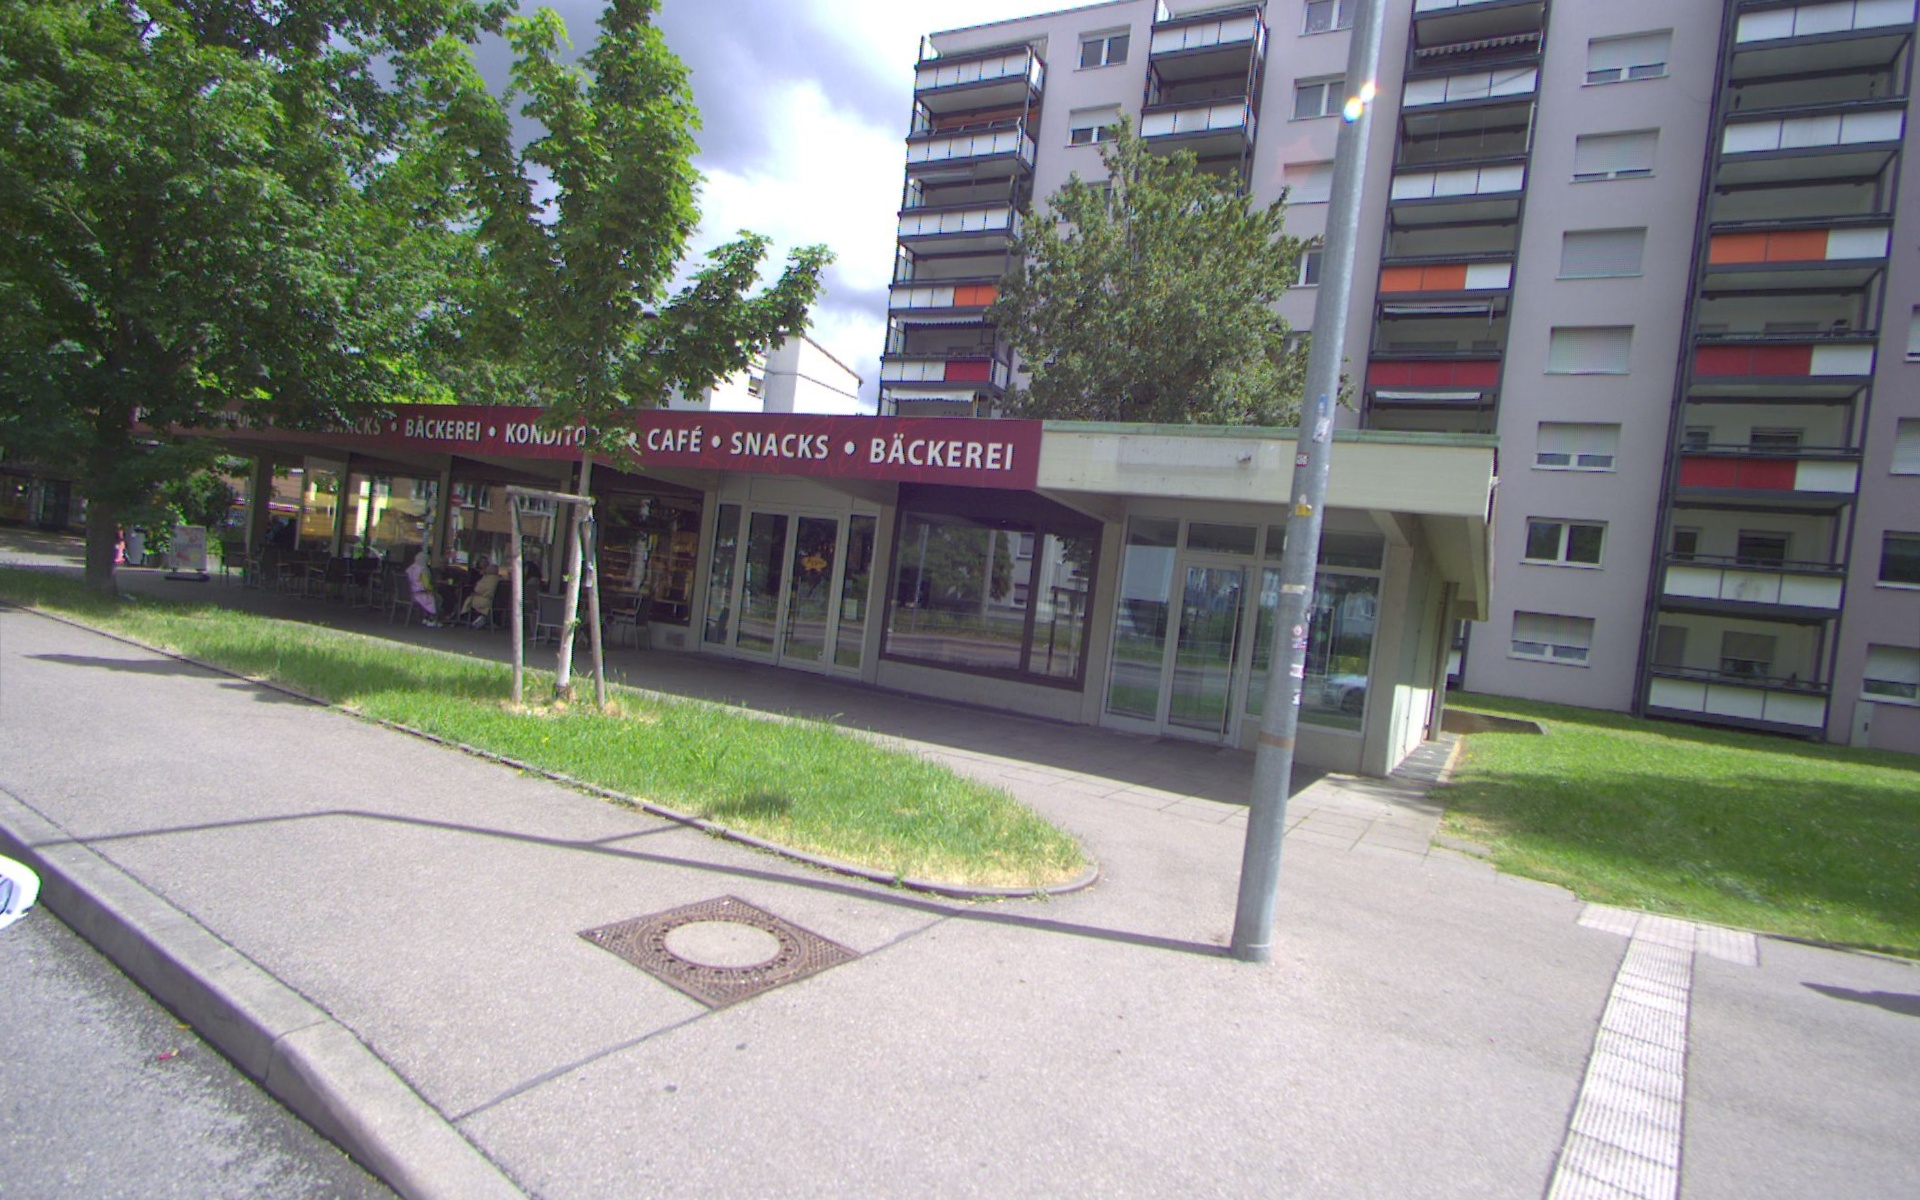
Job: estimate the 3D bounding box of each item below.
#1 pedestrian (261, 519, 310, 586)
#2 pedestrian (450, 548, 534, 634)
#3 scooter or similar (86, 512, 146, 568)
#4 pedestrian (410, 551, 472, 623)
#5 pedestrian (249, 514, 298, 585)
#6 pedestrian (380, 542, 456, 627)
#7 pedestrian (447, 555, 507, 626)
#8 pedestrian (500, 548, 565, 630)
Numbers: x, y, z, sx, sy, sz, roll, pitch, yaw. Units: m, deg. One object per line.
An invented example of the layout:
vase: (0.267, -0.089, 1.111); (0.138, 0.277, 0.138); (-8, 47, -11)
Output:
pedestrian: (-16.093, -1.130, 24.012); (0.548, 1.507, 0.697); (7, 1, 31)
pedestrian: (-8.147, -0.141, 17.543); (0.808, 1.341, 0.879); (10, 2, 27)
scooter or similar: (-20.330, -1.442, 24.262); (0.512, 1.242, 1.721); (7, 1, -22)
pedestrian: (-9.494, -0.236, 18.410); (0.689, 1.216, 0.716); (7, 1, 41)
pedestrian: (-16.593, -1.214, 24.332); (0.548, 1.593, 0.697); (7, 1, 31)
pedestrian: (-9.307, -0.260, 17.296); (0.601, 1.341, 0.877); (7, 1, 36)
pedestrian: (-9.030, -0.171, 18.810); (0.689, 1.216, 0.716); (7, 1, 41)
pedestrian: (-7.788, -0.196, 18.325); (0.688, 1.398, 0.718); (7, 1, 34)
